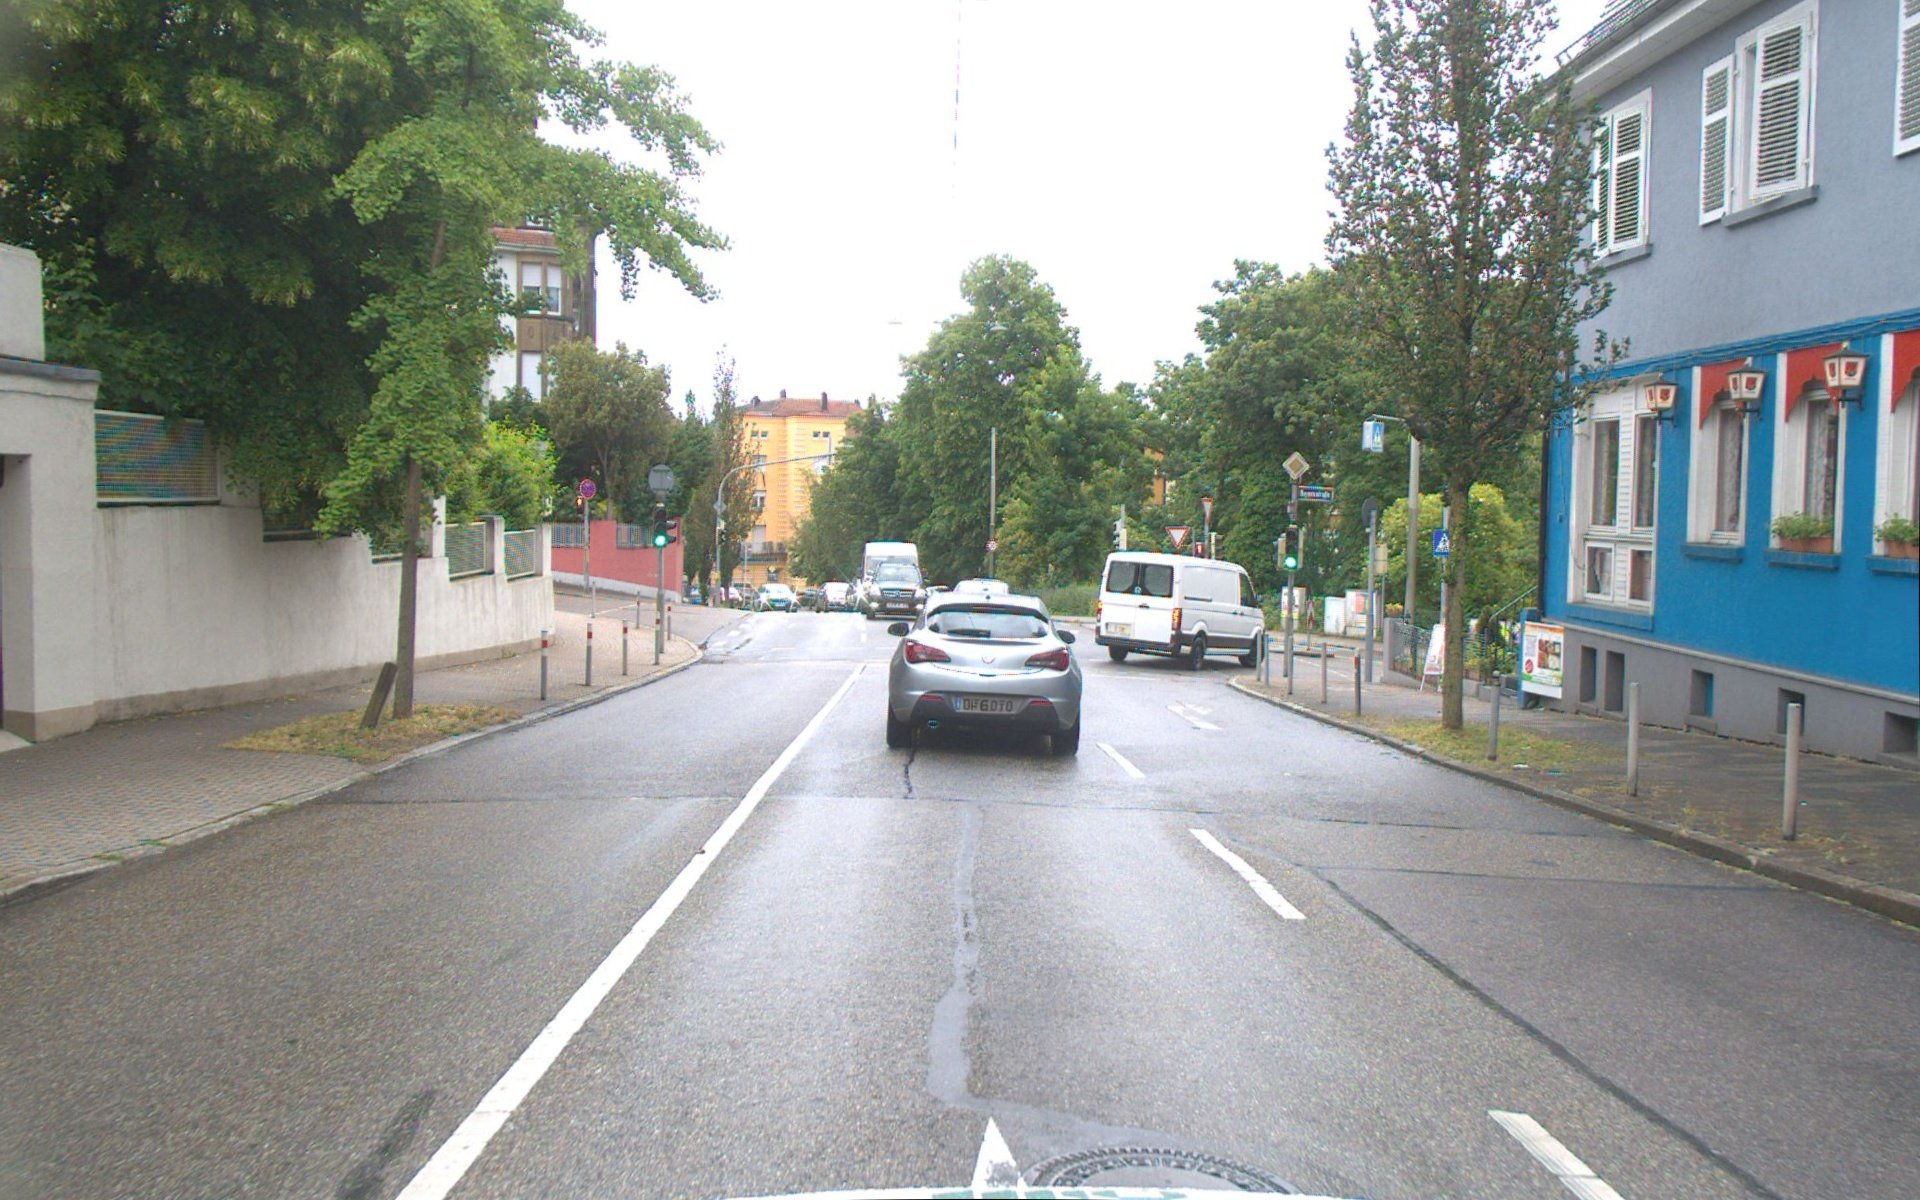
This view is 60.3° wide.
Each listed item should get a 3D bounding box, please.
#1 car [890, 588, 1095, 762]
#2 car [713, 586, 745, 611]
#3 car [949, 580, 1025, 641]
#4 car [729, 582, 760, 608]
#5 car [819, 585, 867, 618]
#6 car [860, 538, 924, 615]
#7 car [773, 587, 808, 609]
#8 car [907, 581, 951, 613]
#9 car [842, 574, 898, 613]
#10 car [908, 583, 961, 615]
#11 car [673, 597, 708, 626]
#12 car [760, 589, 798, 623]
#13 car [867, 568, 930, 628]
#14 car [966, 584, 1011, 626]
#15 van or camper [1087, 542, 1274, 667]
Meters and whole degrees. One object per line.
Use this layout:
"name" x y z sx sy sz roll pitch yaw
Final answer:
"car" 0.255 0.650 16.578 1.778 1.454 4.000 1 1 -1
"car" -16.708 -0.109 119.432 1.814 1.611 4.264 4 -1 -14
"car" 0.617 0.272 41.039 1.740 1.455 3.784 0 -1 -1
"car" -16.690 -0.363 127.963 1.753 1.887 3.981 1 -1 -17
"car" -5.818 0.071 81.950 1.743 1.523 4.249 2 -1 -12
"car" -2.473 -0.786 58.743 2.076 2.590 5.535 0 0 -4
"car" -13.206 -0.135 128.719 1.788 1.493 3.977 -4 1 -20
"car" -1.548 -0.119 81.211 1.592 1.512 3.425 1 -1 -12
"car" -3.968 -0.279 72.121 1.841 1.602 4.573 1 0 -11
"car" -1.415 -0.053 89.732 1.786 1.520 3.982 -5 0 -16
"car" -16.075 0.697 98.508 1.784 1.641 3.986 2 -1 -13
"car" -9.038 0.291 82.698 1.817 1.512 5.361 0 2 -6
"car" -1.901 -0.104 50.265 1.785 1.680 4.343 2 1 -3
"car" 0.988 0.156 59.342 1.355 1.436 3.454 0 0 -3
"van or camper" 4.966 0.119 36.480 2.066 2.365 5.408 7 2 29
